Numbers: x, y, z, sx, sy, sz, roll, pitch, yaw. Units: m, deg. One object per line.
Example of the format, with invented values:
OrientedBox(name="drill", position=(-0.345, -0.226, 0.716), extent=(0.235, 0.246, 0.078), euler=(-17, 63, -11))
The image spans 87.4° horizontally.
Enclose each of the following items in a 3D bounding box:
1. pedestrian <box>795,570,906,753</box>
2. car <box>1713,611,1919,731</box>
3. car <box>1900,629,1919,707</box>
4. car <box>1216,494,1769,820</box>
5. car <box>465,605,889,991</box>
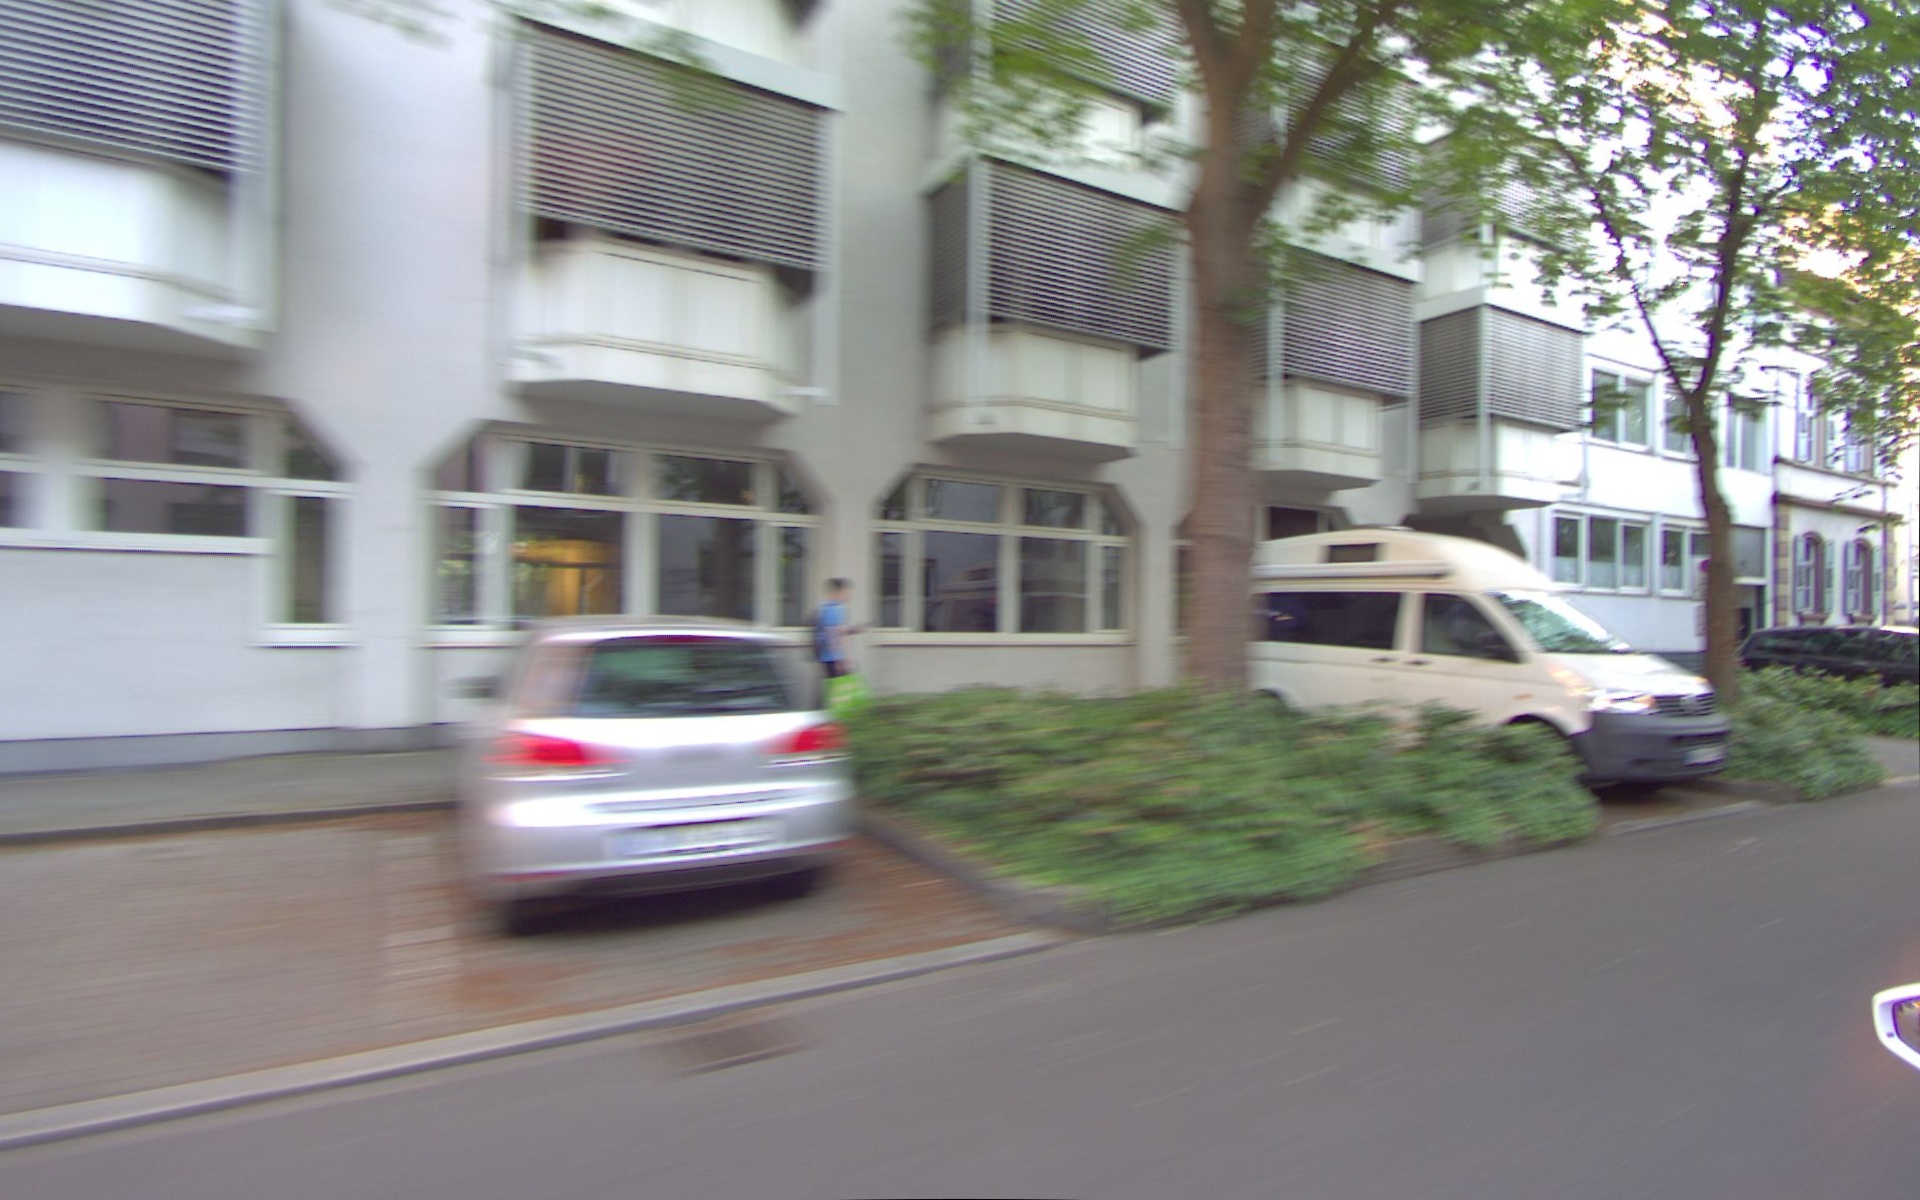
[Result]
OrientedBox(name="pedestrian", position=(-1.114, 0.600, 10.172), extent=(0.894, 1.751, 0.700), euler=(1, 0, -30))
OrientedBox(name="car", position=(15.591, 1.148, 16.582), extent=(1.940, 1.878, 4.661), euler=(1, -3, -30))
OrientedBox(name="car", position=(22.206, 1.415, 20.381), extent=(1.940, 1.657, 4.184), euler=(1, -3, -30))
OrientedBox(name="car", position=(5.023, 0.458, 10.261), extent=(1.976, 2.511, 4.660), euler=(1, -1, -30))
OrientedBox(name="car", position=(-2.013, 0.823, 6.175), extent=(1.735, 1.506, 3.855), euler=(1, 0, -28))
